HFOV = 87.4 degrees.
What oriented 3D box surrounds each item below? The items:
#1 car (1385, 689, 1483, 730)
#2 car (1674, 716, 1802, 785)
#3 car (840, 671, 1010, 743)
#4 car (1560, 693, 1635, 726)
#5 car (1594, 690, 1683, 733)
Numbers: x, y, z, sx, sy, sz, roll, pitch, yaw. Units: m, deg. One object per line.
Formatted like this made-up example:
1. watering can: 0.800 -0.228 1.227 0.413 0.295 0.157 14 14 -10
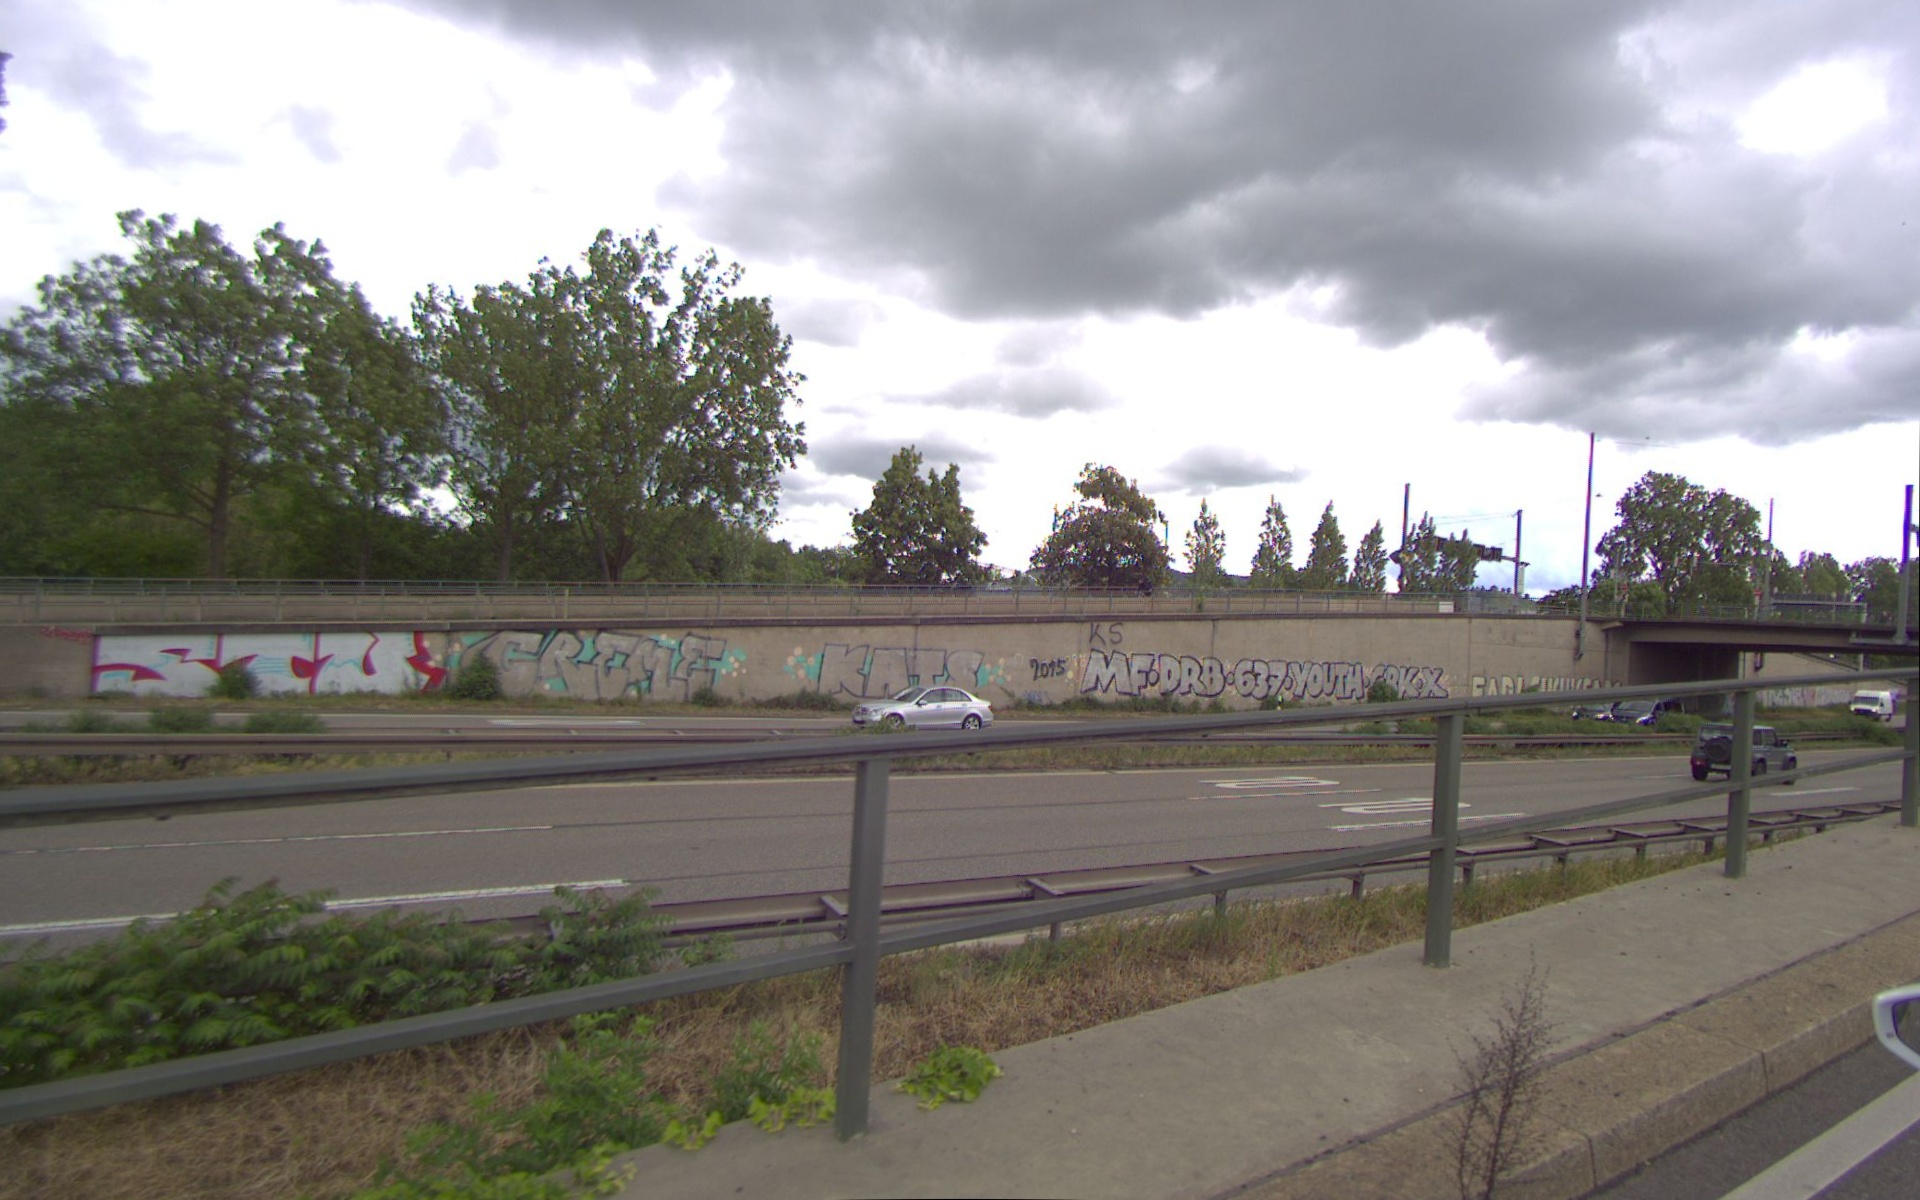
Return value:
1. car: 22.412 5.179 47.437 4.653 1.742 1.983 4 -3 -32
2. car: 22.894 4.364 29.530 3.954 1.758 1.672 4 -3 -31
3. car: -1.021 3.240 30.340 4.653 1.713 1.983 8 -5 -31
4. car: 36.878 6.318 58.068 4.656 1.714 1.981 5 -3 -34
5. car: 35.742 5.884 52.878 5.063 2.014 2.080 5 -3 -33
